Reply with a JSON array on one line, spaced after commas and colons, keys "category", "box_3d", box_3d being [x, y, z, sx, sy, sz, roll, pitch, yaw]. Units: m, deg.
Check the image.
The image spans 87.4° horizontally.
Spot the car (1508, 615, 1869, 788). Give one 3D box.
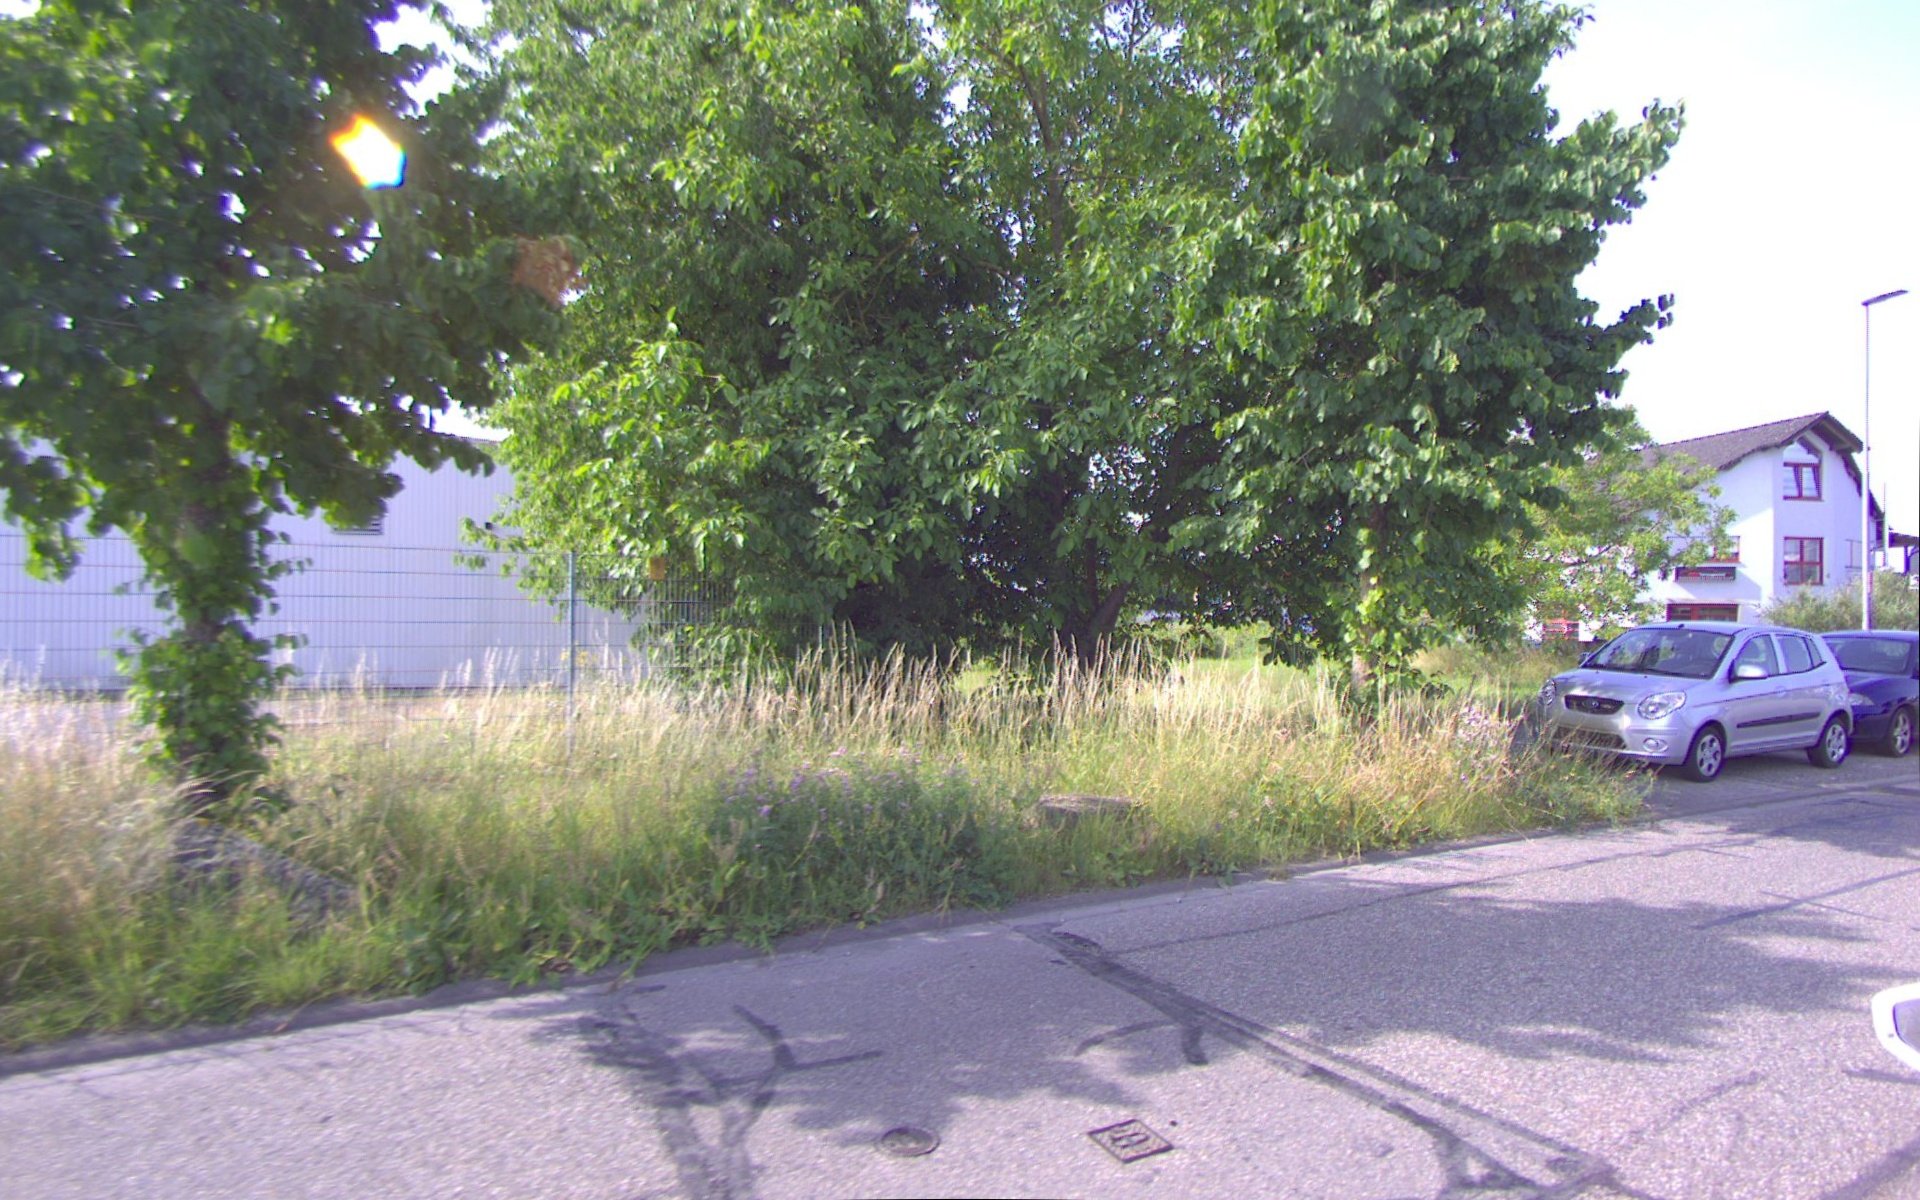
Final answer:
[{"category": "car", "box_3d": [7.803, 0.981, 10.741, 3.638, 1.559, 1.562, 1, 0, -25]}]

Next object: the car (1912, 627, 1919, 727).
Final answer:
[{"category": "car", "box_3d": [16.513, 1.187, 15.297, 4.200, 1.489, 1.677, 1, 0, -28]}]

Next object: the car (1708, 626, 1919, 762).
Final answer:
[{"category": "car", "box_3d": [11.478, 1.096, 12.747, 3.911, 1.463, 1.573, 1, 0, -26]}]
